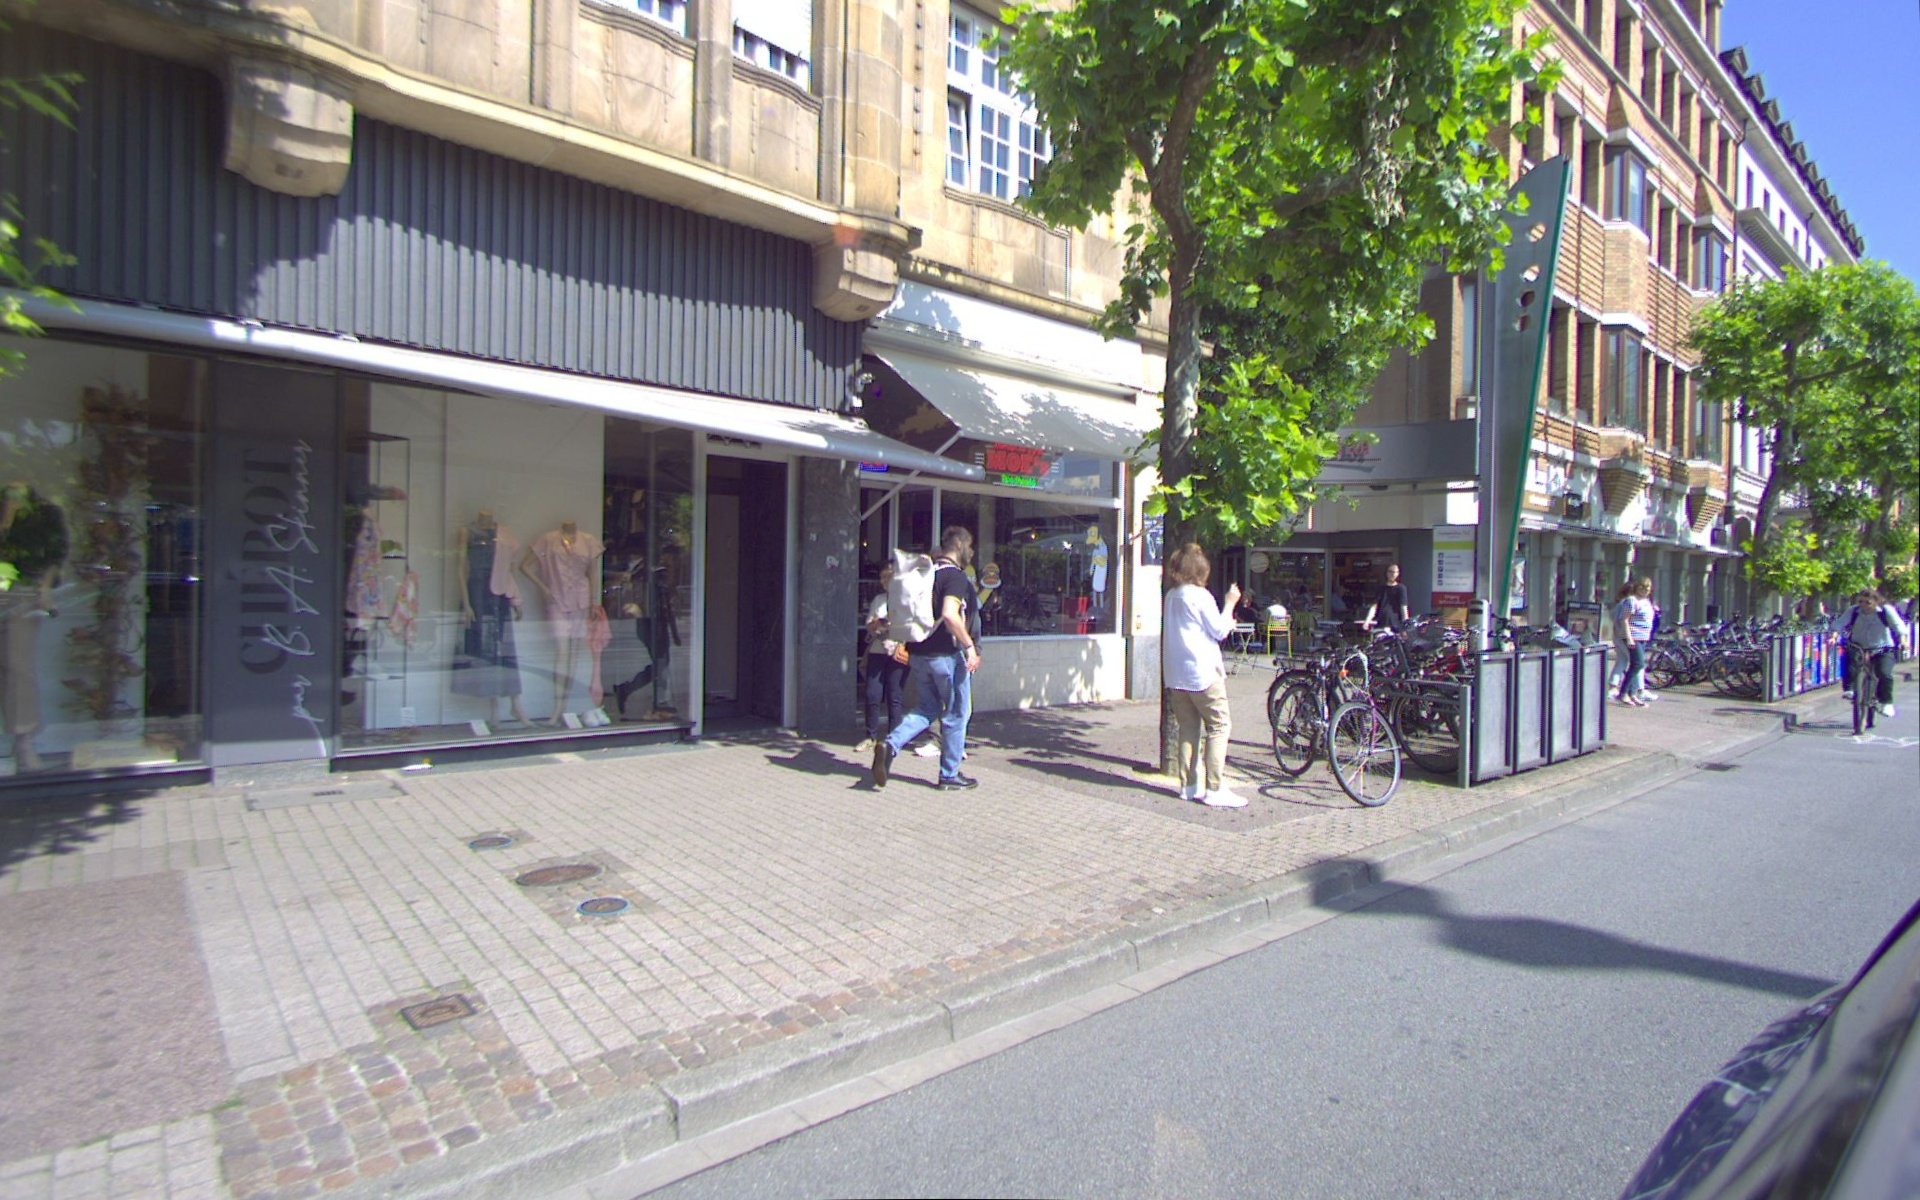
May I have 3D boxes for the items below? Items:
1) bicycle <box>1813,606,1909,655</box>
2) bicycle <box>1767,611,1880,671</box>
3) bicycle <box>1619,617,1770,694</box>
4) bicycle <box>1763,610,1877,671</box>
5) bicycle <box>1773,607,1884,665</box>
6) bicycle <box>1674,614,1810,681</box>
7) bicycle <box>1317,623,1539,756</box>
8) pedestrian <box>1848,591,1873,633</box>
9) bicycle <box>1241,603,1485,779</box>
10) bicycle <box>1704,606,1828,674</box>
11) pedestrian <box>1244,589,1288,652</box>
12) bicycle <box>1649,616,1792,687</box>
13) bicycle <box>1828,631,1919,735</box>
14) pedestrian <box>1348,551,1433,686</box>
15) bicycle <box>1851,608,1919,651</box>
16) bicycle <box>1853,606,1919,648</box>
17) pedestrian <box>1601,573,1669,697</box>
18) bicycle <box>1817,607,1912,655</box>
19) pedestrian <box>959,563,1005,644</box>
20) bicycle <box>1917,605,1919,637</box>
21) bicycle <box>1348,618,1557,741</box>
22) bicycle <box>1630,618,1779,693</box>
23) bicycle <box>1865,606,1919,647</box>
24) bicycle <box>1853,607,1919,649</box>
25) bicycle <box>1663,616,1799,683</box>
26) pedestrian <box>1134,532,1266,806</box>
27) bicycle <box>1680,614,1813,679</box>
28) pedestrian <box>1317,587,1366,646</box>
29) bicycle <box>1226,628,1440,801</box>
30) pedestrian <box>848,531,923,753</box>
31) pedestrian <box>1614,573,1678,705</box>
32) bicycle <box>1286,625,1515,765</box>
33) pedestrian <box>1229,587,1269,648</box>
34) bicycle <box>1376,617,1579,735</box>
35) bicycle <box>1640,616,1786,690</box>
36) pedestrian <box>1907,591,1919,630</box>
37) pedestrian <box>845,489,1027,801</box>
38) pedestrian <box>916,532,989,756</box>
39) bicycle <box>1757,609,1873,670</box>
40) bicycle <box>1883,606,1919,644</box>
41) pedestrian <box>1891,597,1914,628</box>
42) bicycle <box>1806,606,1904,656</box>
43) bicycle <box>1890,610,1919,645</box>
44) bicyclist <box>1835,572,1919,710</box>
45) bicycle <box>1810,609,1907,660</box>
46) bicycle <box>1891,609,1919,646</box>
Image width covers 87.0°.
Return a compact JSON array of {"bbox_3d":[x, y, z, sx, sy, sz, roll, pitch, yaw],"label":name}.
[{"bbox_3d":[22.510,0.746,25.315,0.474,1.161,1.755,0,0,-42],"label":"bicycle"},{"bbox_3d":[18.120,0.837,21.269,0.474,1.161,1.755,0,0,-42],"label":"bicycle"},{"bbox_3d":[10.825,0.790,14.959,0.474,1.031,1.755,0,0,-42],"label":"bicycle"},{"bbox_3d":[17.763,0.816,20.926,0.474,1.161,1.755,0,0,-42],"label":"bicycle"},{"bbox_3d":[18.519,0.754,21.609,0.474,1.161,1.755,0,0,-42],"label":"bicycle"},{"bbox_3d":[13.063,0.768,16.953,0.474,1.031,1.755,0,0,-42],"label":"bicycle"},{"bbox_3d":[4.244,0.764,9.278,0.577,1.031,1.755,0,1,-42],"label":"bicycle"},{"bbox_3d":[37.657,0.495,42.305,0.664,1.718,0.658,0,-2,-39],"label":"pedestrian"},{"bbox_3d":[3.264,0.678,8.339,0.569,1.195,1.756,0,3,-42],"label":"bicycle"},{"bbox_3d":[14.860,0.713,18.698,0.474,1.161,1.755,0,0,-42],"label":"bicycle"},{"bbox_3d":[6.327,0.413,20.905,0.636,1.271,0.783,-2,-1,37],"label":"pedestrian"},{"bbox_3d":[12.031,0.787,16.060,0.474,1.031,1.755,0,0,-42],"label":"bicycle"},{"bbox_3d":[11.065,0.944,12.149,1.865,1.107,0.735,0,-1,-42],"label":"bicycle"},{"bbox_3d":[6.007,0.241,14.125,0.966,1.803,0.670,0,1,-36],"label":"pedestrian"},{"bbox_3d":[25.996,0.817,28.176,0.474,1.161,1.755,0,0,-42],"label":"bicycle"},{"bbox_3d":[26.734,0.765,28.935,0.518,1.161,1.755,0,0,-42],"label":"bicycle"},{"bbox_3d":[9.264,0.456,13.922,0.692,1.646,0.694,2,1,31],"label":"pedestrian"},{"bbox_3d":[22.953,0.768,25.714,0.491,1.161,1.755,0,0,-42],"label":"bicycle"},{"bbox_3d":[0.288,0.053,13.266,0.398,1.036,0.455,0,-2,-40],"label":"pedestrian"},{"bbox_3d":[35.543,0.761,36.256,0.474,1.161,1.776,0,0,-42],"label":"bicycle"},{"bbox_3d":[4.674,0.711,9.703,0.474,1.031,1.755,0,0,-42],"label":"bicycle"},{"bbox_3d":[11.219,0.804,15.302,0.474,1.031,1.755,0,0,-42],"label":"bicycle"},{"bbox_3d":[27.533,0.775,29.450,0.474,1.161,1.755,0,0,-42],"label":"bicycle"},{"bbox_3d":[26.358,0.781,28.522,0.474,1.161,1.755,0,0,-42],"label":"bicycle"},{"bbox_3d":[12.576,0.785,16.544,0.474,0.997,1.719,0,0,-42],"label":"bicycle"},{"bbox_3d":[1.604,0.419,6.753,0.655,1.704,0.645,1,1,37],"label":"pedestrian"},{"bbox_3d":[13.548,0.782,17.478,0.474,1.031,1.755,0,0,-42],"label":"bicycle"},{"bbox_3d":[8.515,0.367,22.601,0.628,1.271,0.793,0,-1,-37],"label":"pedestrian"},{"bbox_3d":[2.629,0.753,7.362,0.644,1.031,1.761,0,0,-10],"label":"bicycle"},{"bbox_3d":[-0.597,0.318,8.070,0.467,1.704,0.382,0,1,-28],"label":"pedestrian"},{"bbox_3d":[8.953,0.486,13.231,0.597,1.646,0.636,4,2,33],"label":"pedestrian"},{"bbox_3d":[3.772,0.767,8.785,0.547,1.031,1.755,0,0,-42],"label":"bicycle"},{"bbox_3d":[6.223,0.377,21.825,0.628,1.271,0.792,-1,-1,2],"label":"pedestrian"},{"bbox_3d":[5.104,0.706,10.079,0.474,1.031,1.755,0,0,-42],"label":"bicycle"},{"bbox_3d":[11.598,0.791,15.632,0.474,1.031,1.755,0,0,-42],"label":"bicycle"},{"bbox_3d":[44.966,0.487,47.532,0.763,1.816,0.634,0,-2,-43],"label":"pedestrian"},{"bbox_3d":[-0.170,0.255,6.648,0.874,1.871,0.817,0,2,-33],"label":"pedestrian"},{"bbox_3d":[-0.066,0.330,7.974,0.527,1.703,0.500,1,2,-1],"label":"pedestrian"},{"bbox_3d":[17.397,0.781,20.625,0.474,1.161,1.755,0,0,-42],"label":"bicycle"},{"bbox_3d":[29.396,0.770,30.898,0.474,1.161,1.755,0,0,-42],"label":"bicycle"},{"bbox_3d":[50.968,0.676,54.707,0.611,1.668,0.797,0,-2,-40],"label":"pedestrian"},{"bbox_3d":[21.762,0.735,24.640,0.474,1.161,1.755,0,0,-42],"label":"bicycle"},{"bbox_3d":[30.835,0.878,32.228,0.474,1.082,1.755,0,0,-42],"label":"bicycle"},{"bbox_3d":[11.158,0.483,12.238,0.765,1.597,0.749,0,-2,-41],"label":"bicyclist"},{"bbox_3d":[22.152,0.832,24.969,0.474,1.161,1.755,0,0,-42],"label":"bicycle"},{"bbox_3d":[31.263,0.890,32.675,0.474,1.161,1.755,0,0,-42],"label":"bicycle"}]
